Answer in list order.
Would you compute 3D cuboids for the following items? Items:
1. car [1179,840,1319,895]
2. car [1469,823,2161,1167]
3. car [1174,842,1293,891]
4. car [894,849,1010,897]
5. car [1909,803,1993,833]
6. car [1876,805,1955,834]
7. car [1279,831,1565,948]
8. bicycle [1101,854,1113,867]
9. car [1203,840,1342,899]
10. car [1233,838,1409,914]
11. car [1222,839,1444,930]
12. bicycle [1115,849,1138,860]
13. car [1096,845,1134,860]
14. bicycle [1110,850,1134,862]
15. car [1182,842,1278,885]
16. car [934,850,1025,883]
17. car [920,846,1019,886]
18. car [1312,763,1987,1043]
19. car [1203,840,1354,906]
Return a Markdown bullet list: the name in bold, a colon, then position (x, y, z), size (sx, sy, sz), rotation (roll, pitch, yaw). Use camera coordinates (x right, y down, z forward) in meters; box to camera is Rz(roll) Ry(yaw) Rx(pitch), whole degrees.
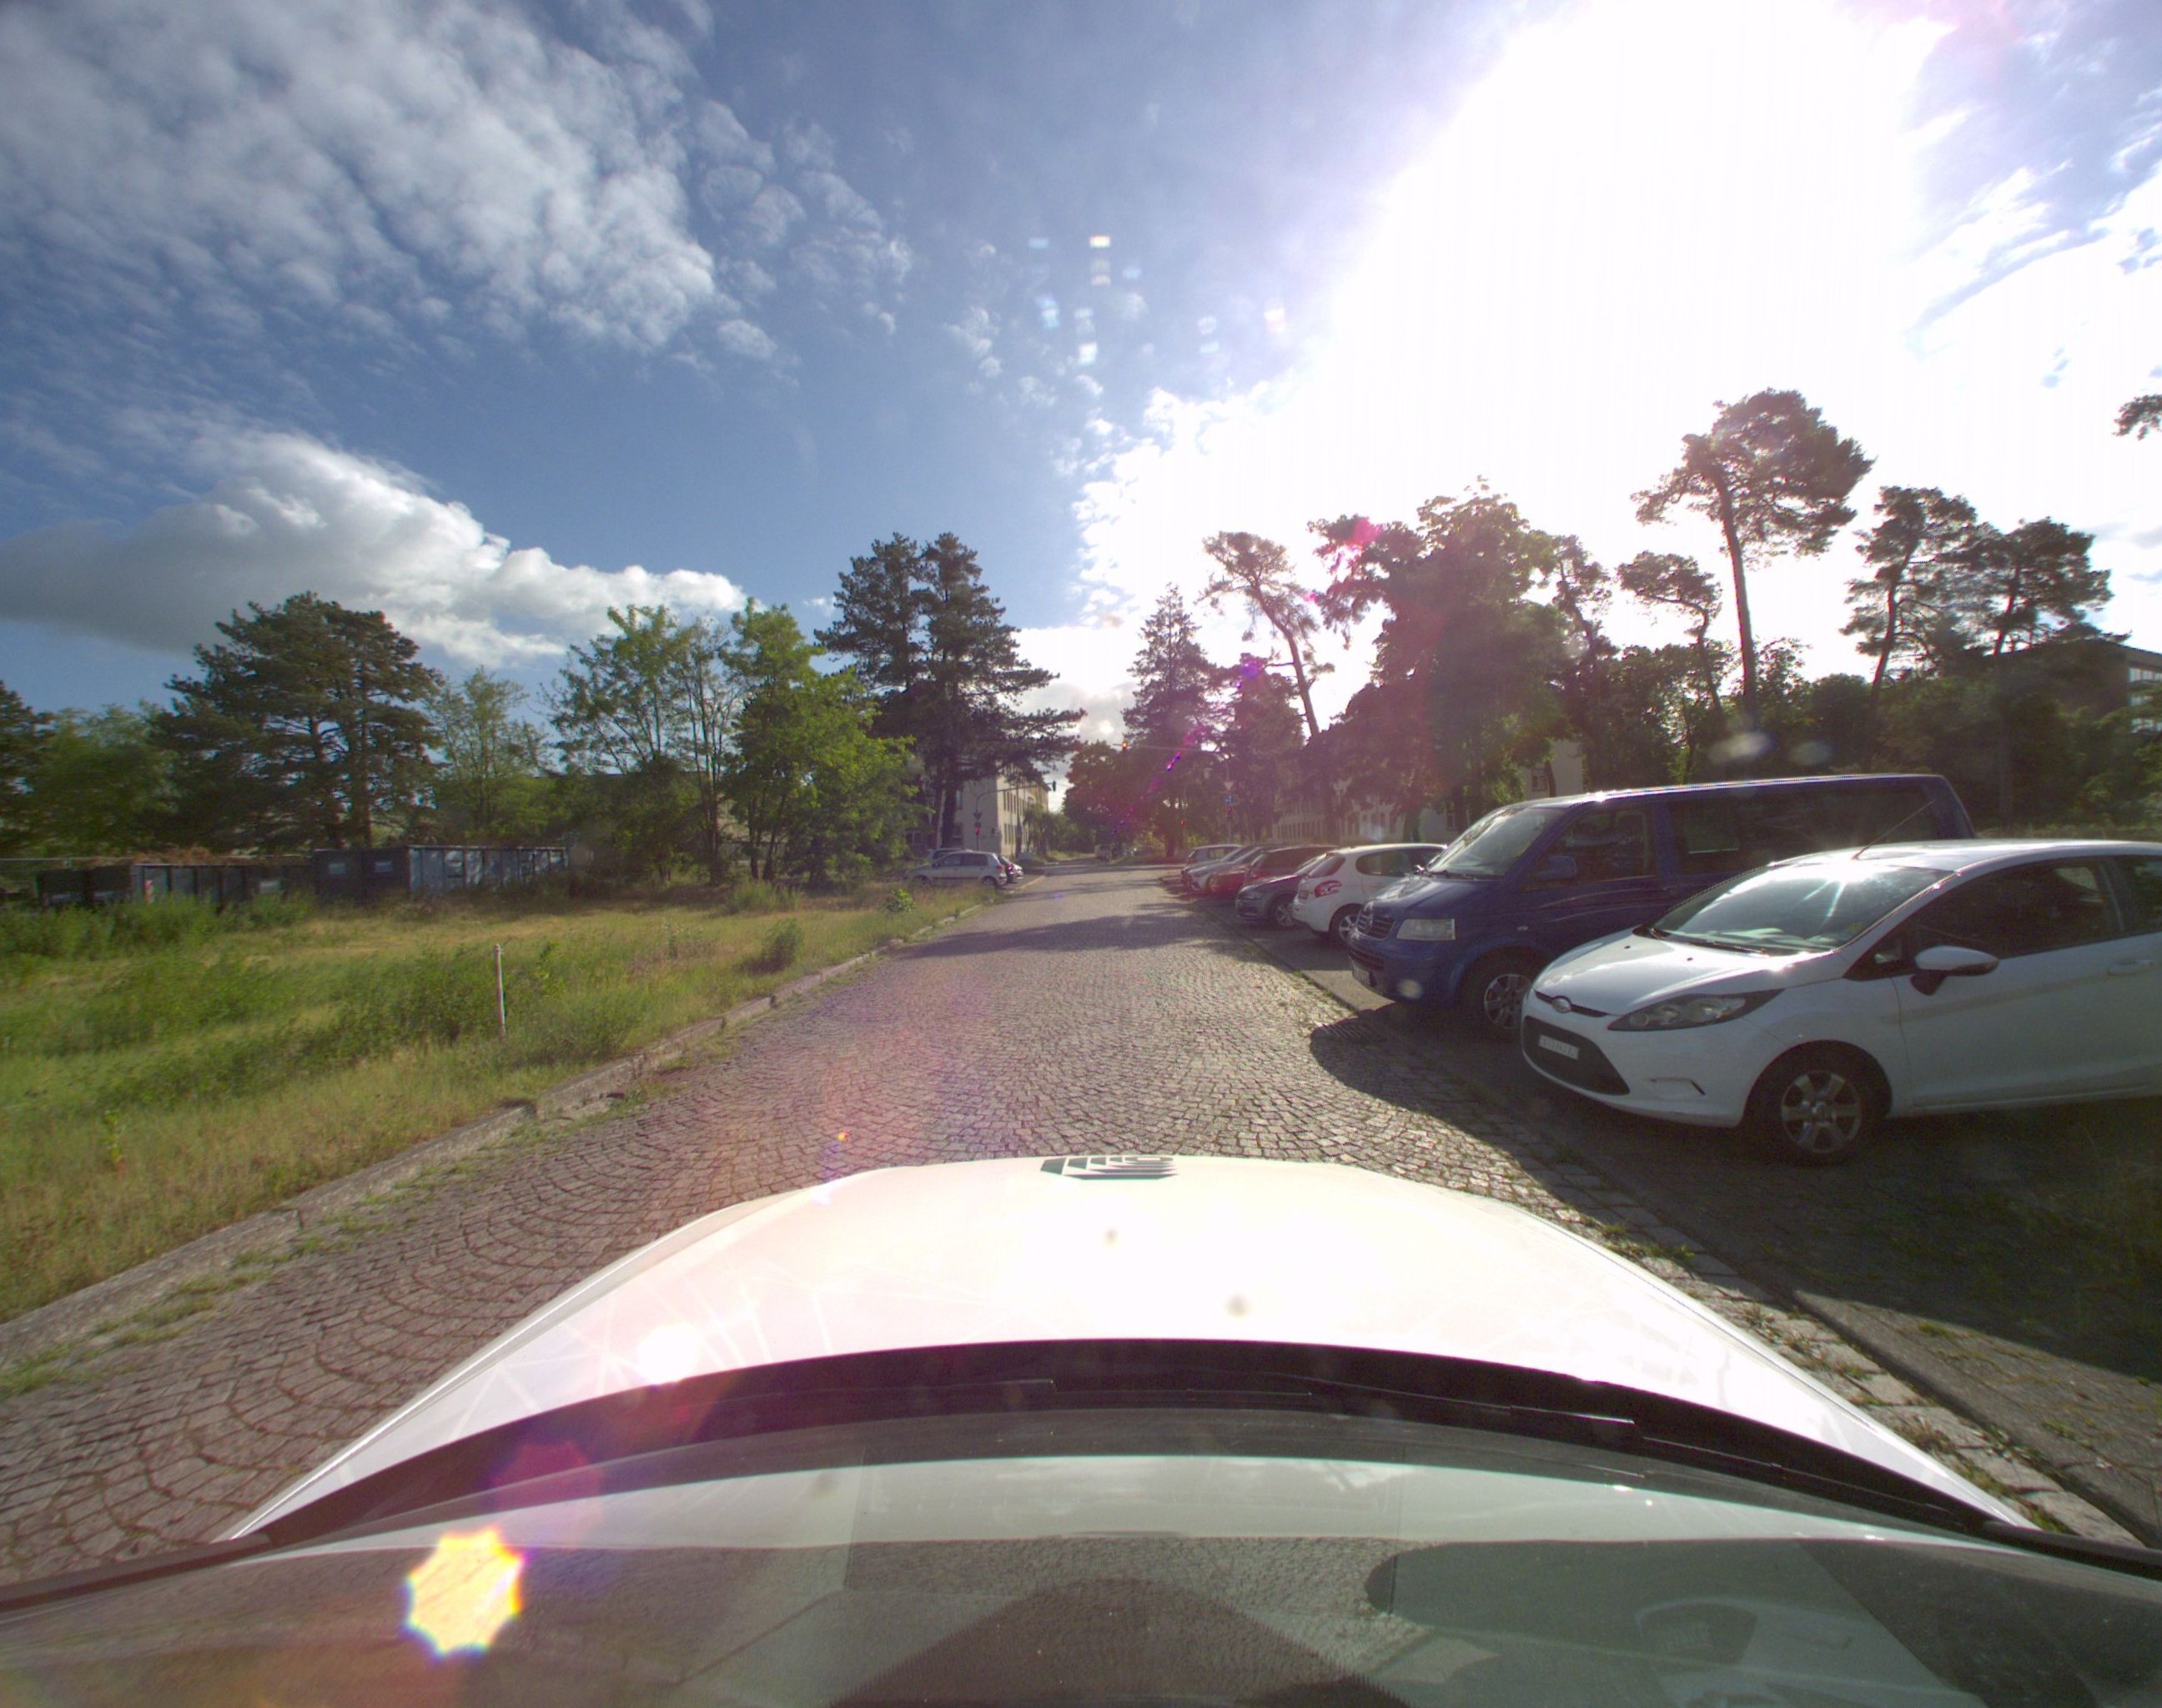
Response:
- **car**: position (5.226, 0.411, 25.596), size (4.024, 1.529, 1.644), rotation (-2, 0, -2)
- **car**: position (4.501, 0.642, 4.705), size (3.708, 1.488, 1.645), rotation (-3, 0, -1)
- **car**: position (5.259, 0.410, 28.369), size (3.823, 1.529, 1.645), rotation (-2, 0, 0)
- **car**: position (-4.732, 0.673, 30.439), size (3.976, 1.600, 1.999), rotation (-2, 0, -1)
- **car**: position (64.062, -2.664, 59.992), size (3.972, 2.013, 2.001), rotation (-2, 0, 1)
- **car**: position (64.047, -2.653, 62.533), size (3.972, 2.013, 2.001), rotation (-2, 0, 1)
- **car**: position (5.102, 0.504, 12.553), size (3.680, 1.465, 1.646), rotation (-4, 0, 2)
- **bicycle**: position (2.441, 0.602, 76.630), size (0.803, 1.169, 2.177), rotation (-3, 1, -4)
- **car**: position (5.446, 0.422, 23.408), size (3.591, 1.529, 1.645), rotation (-2, 0, 0)
- **car**: position (5.330, 0.468, 18.358), size (3.466, 1.529, 1.645), rotation (-2, 0, 0)
- **car**: position (4.676, 0.543, 15.451), size (3.663, 1.467, 1.645), rotation (-3, 0, 0)
- **bicycle**: position (4.557, 0.061, 81.158), size (2.172, 1.100, 0.805), rotation (-1, 0, -8)
- **car**: position (4.059, -0.196, 97.540), size (4.465, 1.728, 2.000), rotation (-1, 0, 1)
- **bicycle**: position (4.033, 0.160, 80.059), size (2.172, 1.100, 0.805), rotation (-1, 0, -8)
- **car**: position (5.641, 0.354, 31.003), size (3.332, 1.482, 1.645), rotation (-2, 0, 0)
- **car**: position (-4.705, 0.568, 38.233), size (3.973, 1.453, 2.001), rotation (1, 1, 1)
- **car**: position (-4.852, 0.490, 35.833), size (3.973, 1.601, 2.001), rotation (2, 0, 1)
- **car**: position (4.742, 0.358, 7.359), size (4.664, 2.013, 2.082), rotation (-2, 0, -2)
- **car**: position (5.032, 0.453, 21.058), size (3.466, 1.529, 1.645), rotation (-2, 0, 0)
